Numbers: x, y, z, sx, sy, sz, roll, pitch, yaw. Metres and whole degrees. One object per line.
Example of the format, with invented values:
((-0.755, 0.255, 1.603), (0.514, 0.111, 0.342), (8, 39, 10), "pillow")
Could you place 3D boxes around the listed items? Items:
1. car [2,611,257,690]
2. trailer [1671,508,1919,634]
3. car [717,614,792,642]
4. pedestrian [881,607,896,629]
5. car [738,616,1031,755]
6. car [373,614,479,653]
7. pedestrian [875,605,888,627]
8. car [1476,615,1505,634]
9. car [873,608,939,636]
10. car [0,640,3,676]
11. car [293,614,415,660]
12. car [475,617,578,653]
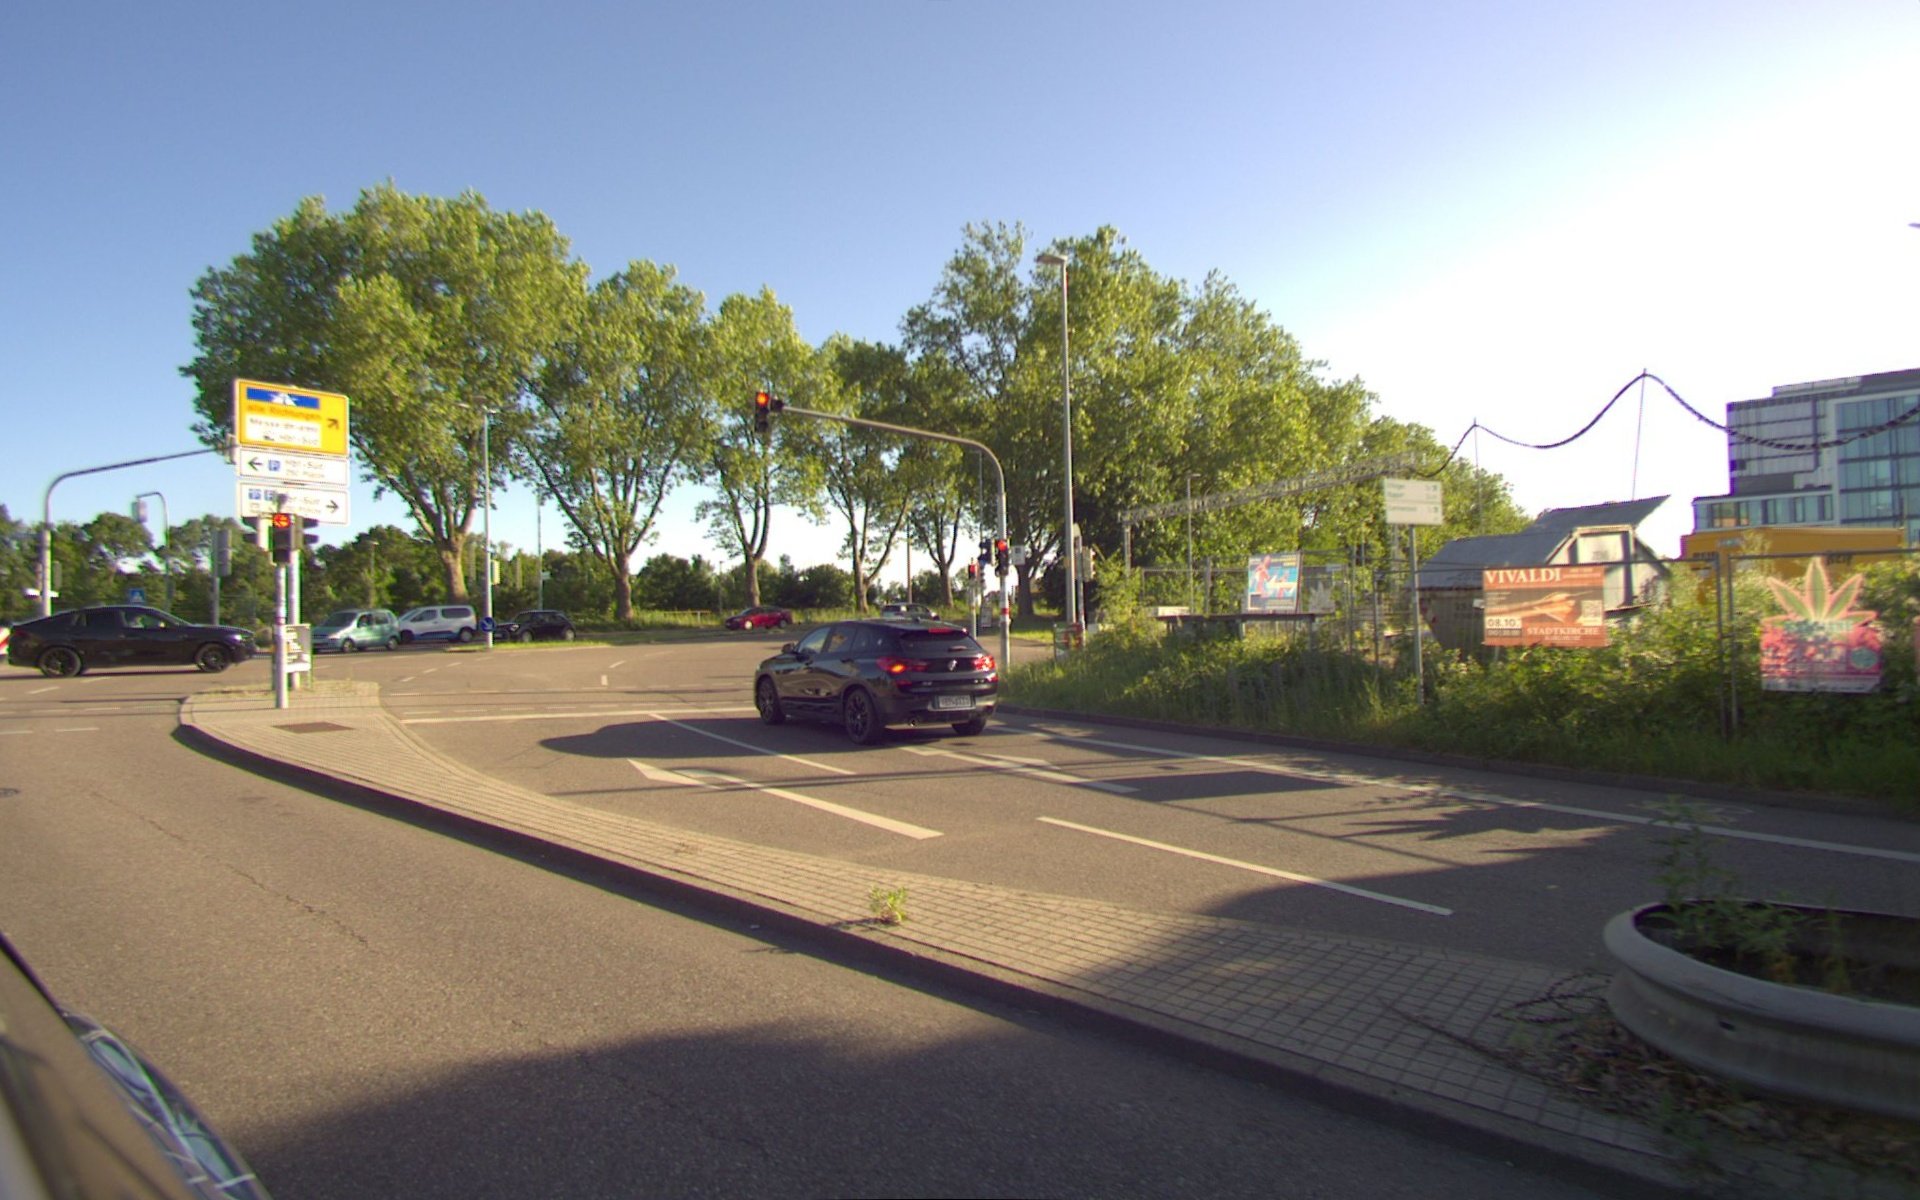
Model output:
((-20.408, 1.189, 25.202), (4.671, 1.727, 2.054), (-1, -1, -32), "car")
((24.332, -0.774, 29.113), (6.553, 3.317, 3.015), (-1, -1, -19), "trailer")
((-12.792, 1.756, 63.230), (4.261, 1.611, 1.861), (-1, -1, -44), "car")
((-5.332, 1.336, 75.788), (0.731, 1.604, 0.793), (-3, -2, 43), "pedestrian")
((-1.198, 1.009, 13.621), (1.924, 1.529, 4.397), (1, -2, -36), "car")
((-25.915, 1.626, 49.191), (1.860, 1.757, 4.205), (-2, -1, 43), "car")
((-5.959, 1.215, 76.710), (0.665, 1.598, 0.622), (-3, -2, 43), "pedestrian")
((44.595, 2.012, 85.028), (1.748, 1.488, 3.955), (-2, -1, 33), "car")
((-2.984, 1.216, 57.004), (1.968, 1.438, 3.898), (0, 0, 29), "car")
((-48.195, 2.842, 48.351), (3.964, 1.696, 1.831), (-2, -1, 16), "car")
((-23.646, 1.409, 39.666), (1.900, 1.648, 4.108), (-1, -1, 10), "car")
((-18.592, 1.464, 43.612), (1.896, 1.438, 3.908), (-1, -1, 21), "car")
